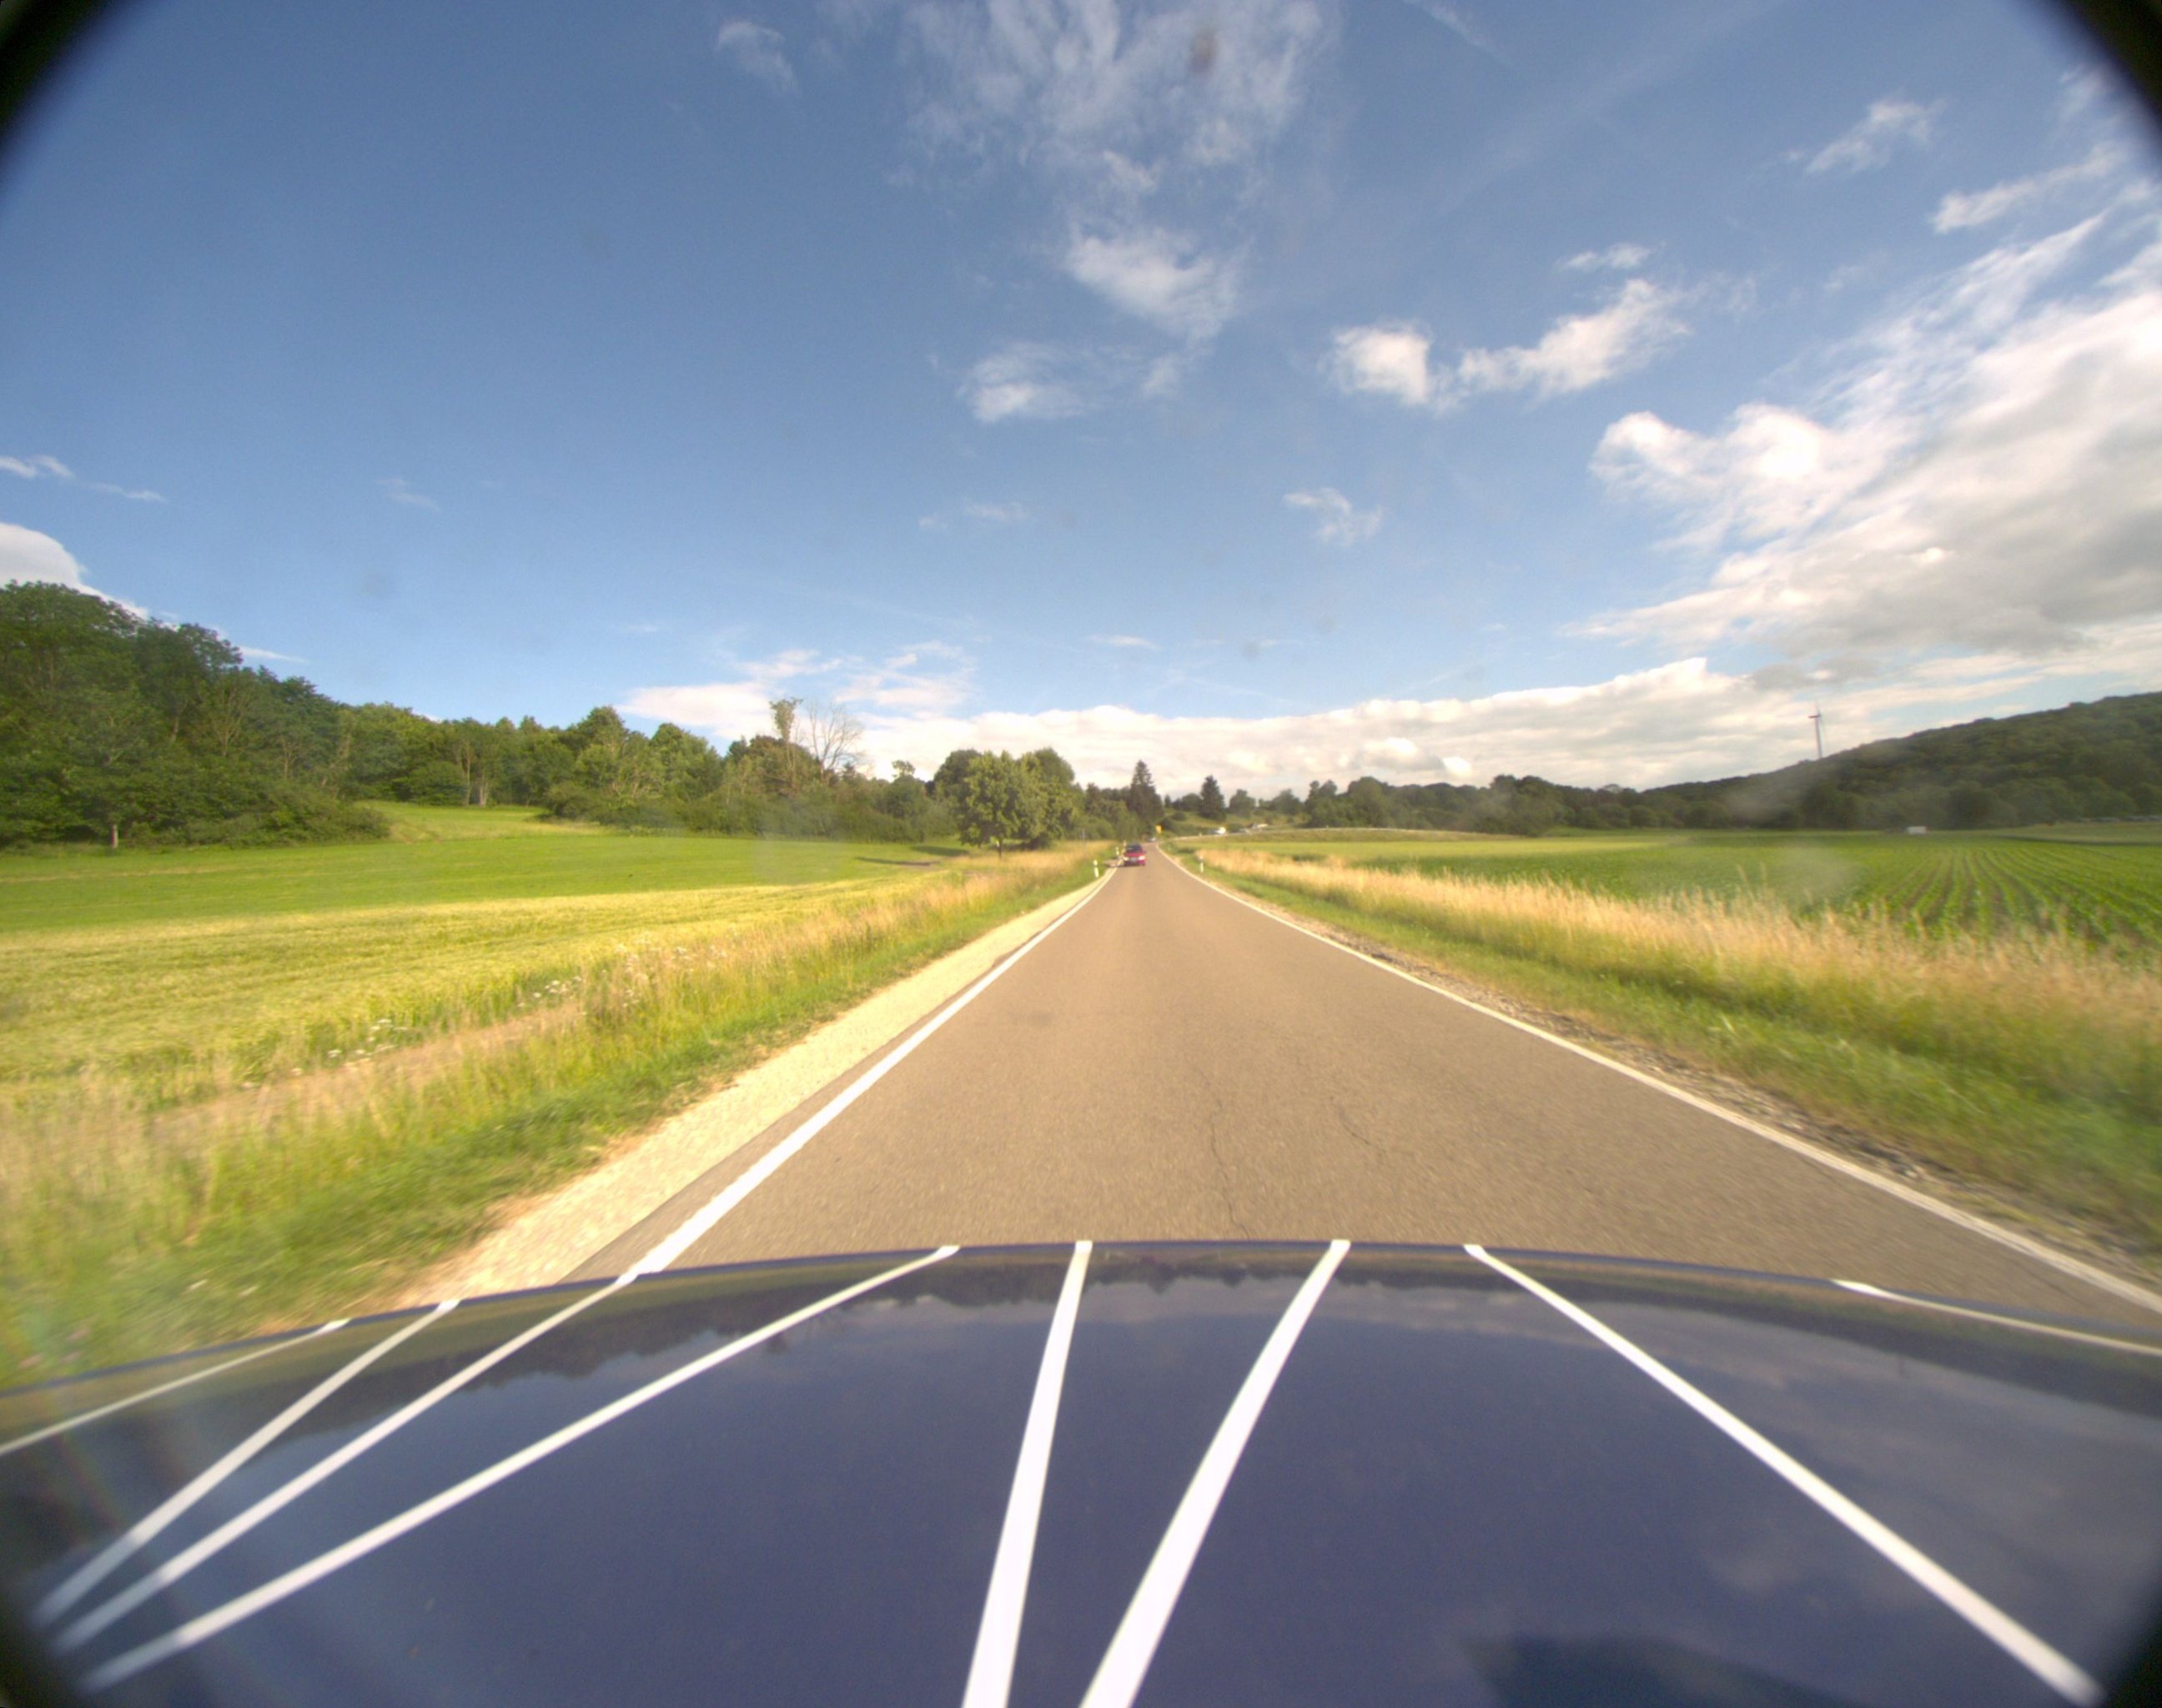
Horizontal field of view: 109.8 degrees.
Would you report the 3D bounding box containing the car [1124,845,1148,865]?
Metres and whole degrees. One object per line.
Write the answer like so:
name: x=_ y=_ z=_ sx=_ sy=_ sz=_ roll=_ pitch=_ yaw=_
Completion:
car: x=4.620 y=0.116 z=64.331 sx=1.820 sy=1.645 sz=4.001 roll=-1 pitch=-1 yaw=2
